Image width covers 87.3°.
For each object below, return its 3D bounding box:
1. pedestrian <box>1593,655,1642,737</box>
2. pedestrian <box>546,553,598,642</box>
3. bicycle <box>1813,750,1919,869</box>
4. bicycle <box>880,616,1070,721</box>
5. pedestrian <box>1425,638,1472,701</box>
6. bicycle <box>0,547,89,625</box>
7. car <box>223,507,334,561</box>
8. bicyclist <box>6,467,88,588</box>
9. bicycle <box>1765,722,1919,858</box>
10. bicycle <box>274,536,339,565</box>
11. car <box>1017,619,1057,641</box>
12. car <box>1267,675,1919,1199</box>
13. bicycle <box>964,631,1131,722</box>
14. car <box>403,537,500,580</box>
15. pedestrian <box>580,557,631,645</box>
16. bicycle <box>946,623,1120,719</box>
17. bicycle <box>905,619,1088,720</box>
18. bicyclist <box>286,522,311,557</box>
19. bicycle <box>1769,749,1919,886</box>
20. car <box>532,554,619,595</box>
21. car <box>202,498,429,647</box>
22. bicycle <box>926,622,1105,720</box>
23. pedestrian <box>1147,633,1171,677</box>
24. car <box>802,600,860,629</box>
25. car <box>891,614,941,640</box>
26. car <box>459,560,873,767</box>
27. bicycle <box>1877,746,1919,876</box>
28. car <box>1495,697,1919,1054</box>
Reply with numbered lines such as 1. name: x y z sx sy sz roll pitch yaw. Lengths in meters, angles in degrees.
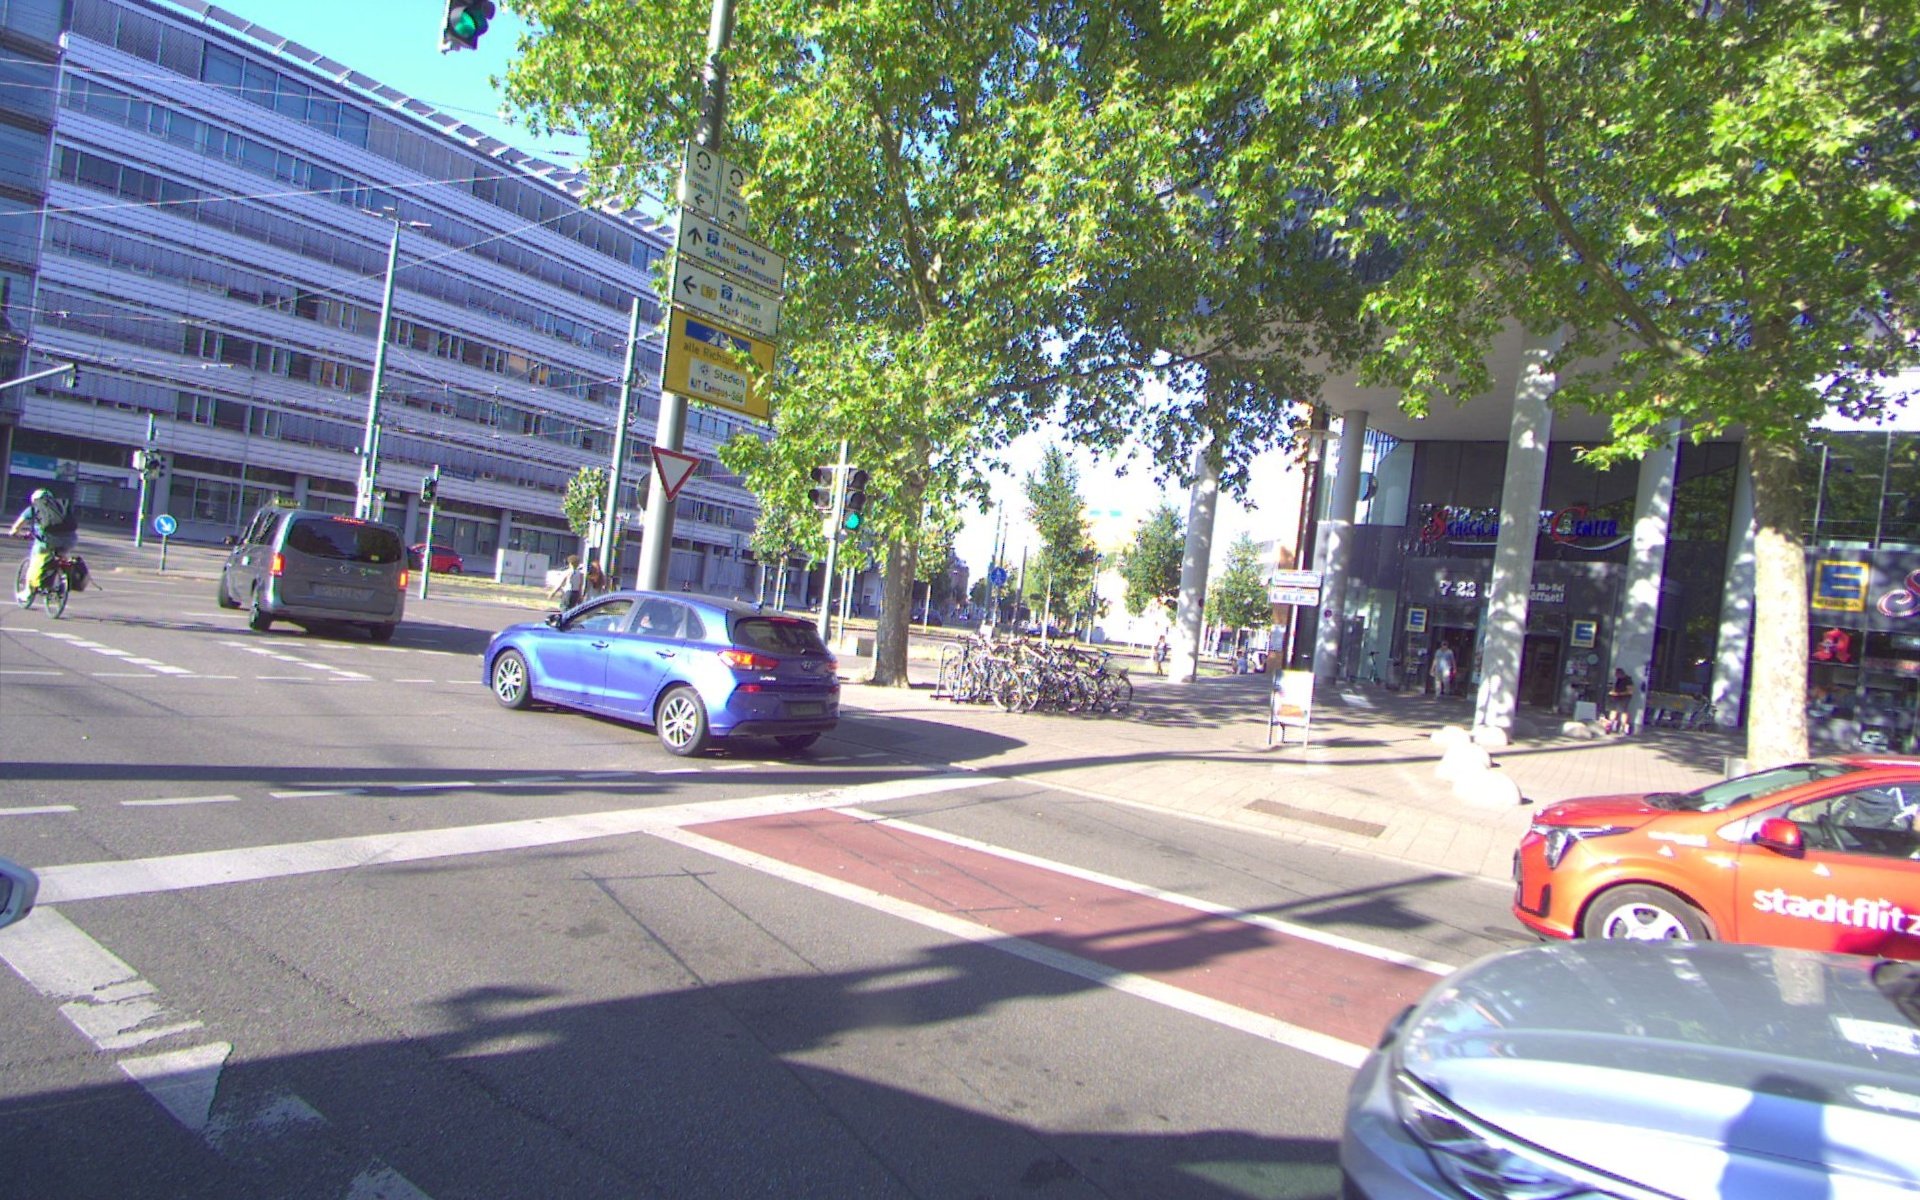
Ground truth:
1. pedestrian: 17.516 2.565 26.790 0.847 2.037 1.021 6 -1 38
2. pedestrian: -8.175 -0.054 21.168 0.674 1.781 0.734 6 1 -38
3. bicycle: 12.171 2.605 11.342 3.758 1.234 0.792 5 -2 36
4. bicycle: 0.195 1.039 15.712 2.896 1.252 0.705 6 -1 31
5. pedestrian: 15.801 2.248 32.551 0.800 1.913 0.871 5 1 -16
6. bicycle: -12.034 -0.201 13.070 1.831 0.798 0.491 7 -1 32
7. car: -34.323 -3.304 50.759 1.967 2.037 3.995 6 -2 32
8. bicyclist: -11.827 -0.935 13.032 0.605 1.456 0.487 7 -1 32
9. bicycle: 11.331 2.351 11.017 3.757 1.235 0.727 10 1 38
10. bicycle: -30.080 -2.281 46.351 0.627 1.035 2.410 7 0 36
11. car: 7.484 2.883 97.125 1.852 1.614 4.121 6 -2 35
12. car: 2.718 1.158 1.560 3.935 1.435 1.750 8 -1 34
13. bicycle: 1.553 1.343 18.220 2.896 1.253 0.704 6 1 31
14. car: -26.222 -2.115 51.984 1.769 1.569 3.990 6 -2 36
15. pedestrian: -7.616 0.021 21.609 0.680 1.781 0.734 6 1 -38
16. bicycle: 1.247 1.217 17.615 2.896 1.250 0.698 6 -4 31
17. bicycle: 0.552 1.100 16.340 2.896 1.243 0.686 6 -1 31
18. bicyclist: -30.262 -2.762 46.038 0.604 1.521 0.663 7 1 37
19. bicycle: 10.871 2.463 10.427 3.759 1.234 0.756 5 -2 38
20. car: -20.928 -1.345 54.897 1.852 1.614 3.991 6 -2 35
21. car: -10.743 -0.524 16.594 4.819 1.919 1.997 7 -1 45
22. bicycle: 0.896 1.172 16.968 2.896 1.252 0.705 6 -1 32
23. pedestrian: 7.681 2.132 38.797 0.569 1.612 0.595 7 0 32
24. car: -9.568 1.102 74.914 1.852 1.614 4.121 6 -2 35
25. car: -3.637 2.227 83.488 1.852 1.614 4.121 6 -2 35
26. car: -3.169 0.591 10.592 4.142 1.476 1.751 7 -1 32
27. bicycle: 10.454 2.190 9.492 2.514 1.234 0.756 5 -2 37
28. car: 5.106 1.551 5.607 3.538 1.476 1.493 7 -1 32
